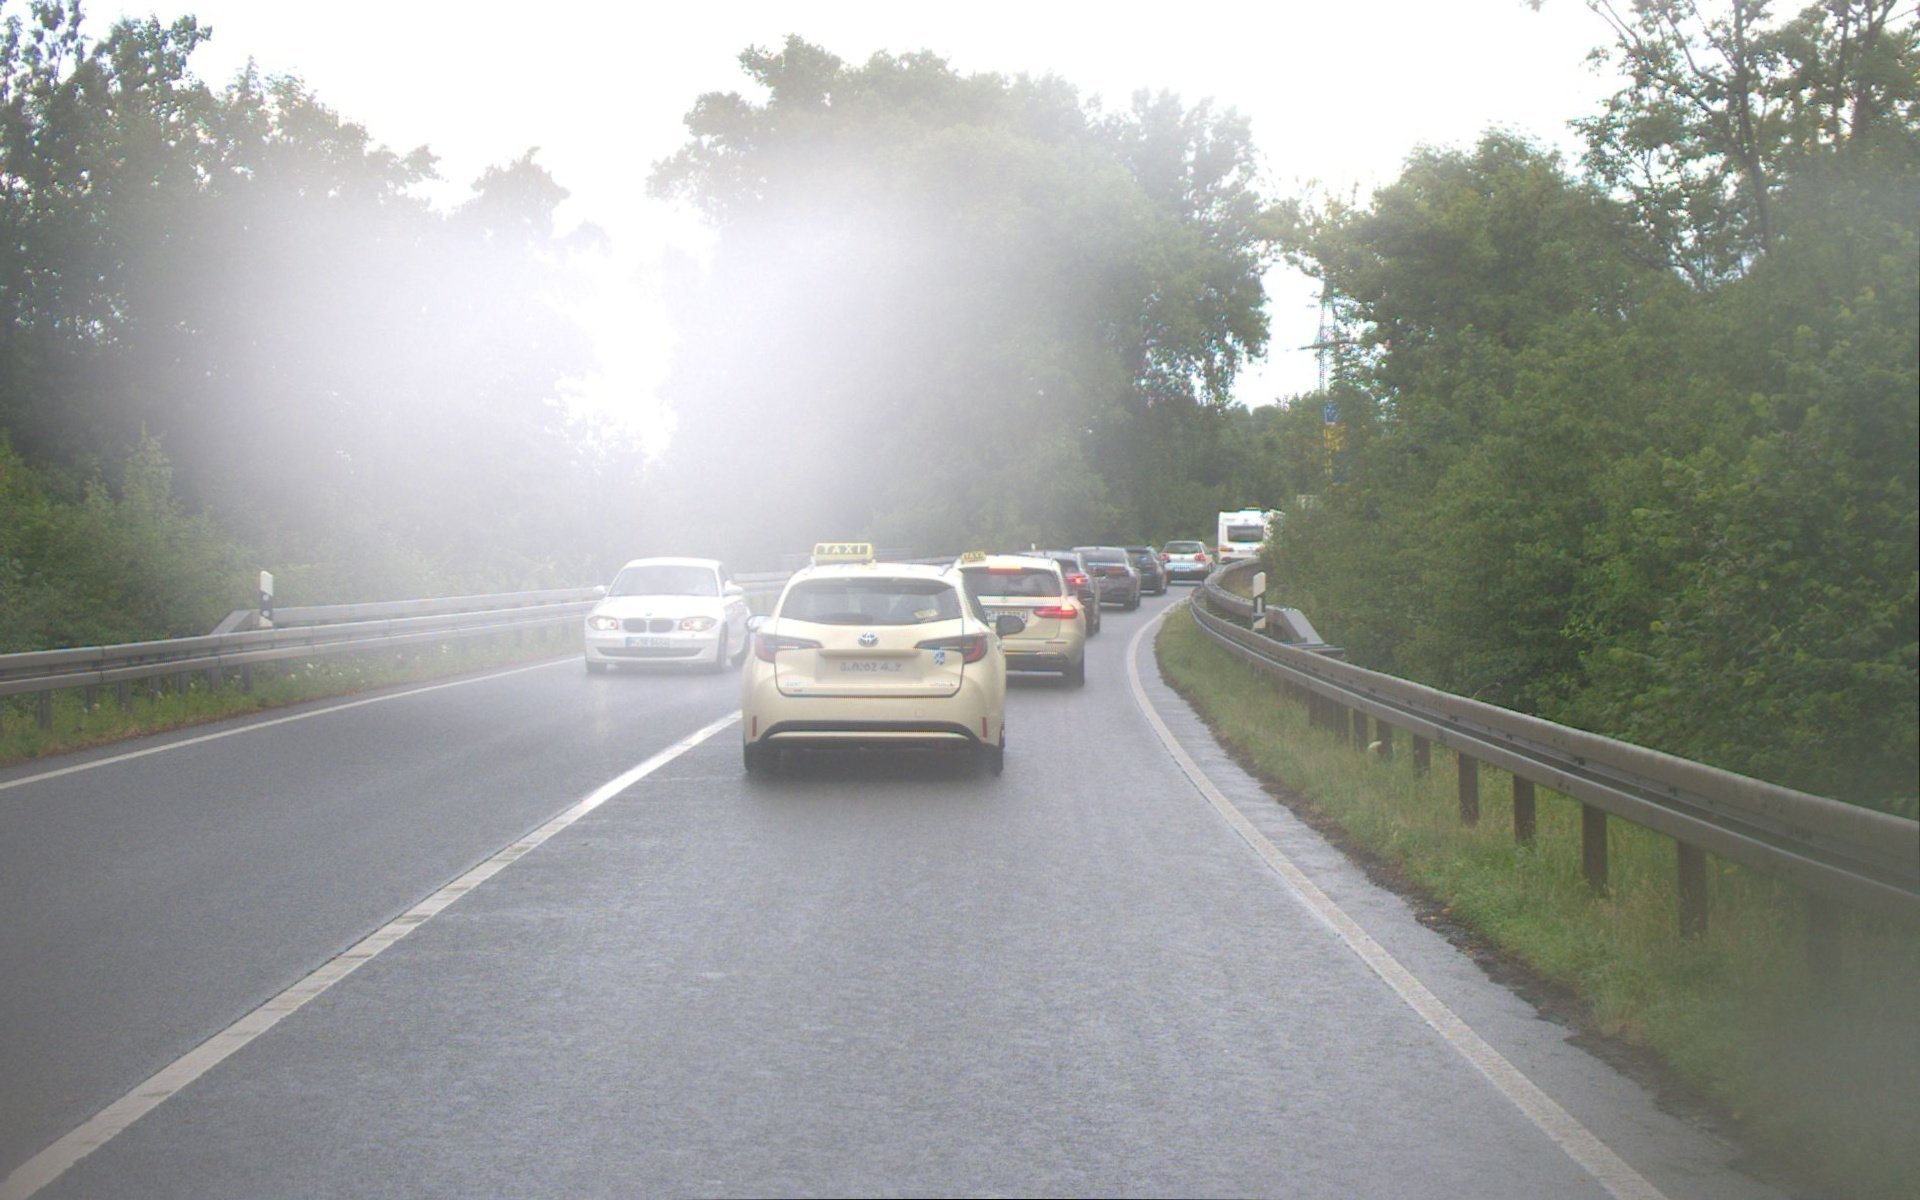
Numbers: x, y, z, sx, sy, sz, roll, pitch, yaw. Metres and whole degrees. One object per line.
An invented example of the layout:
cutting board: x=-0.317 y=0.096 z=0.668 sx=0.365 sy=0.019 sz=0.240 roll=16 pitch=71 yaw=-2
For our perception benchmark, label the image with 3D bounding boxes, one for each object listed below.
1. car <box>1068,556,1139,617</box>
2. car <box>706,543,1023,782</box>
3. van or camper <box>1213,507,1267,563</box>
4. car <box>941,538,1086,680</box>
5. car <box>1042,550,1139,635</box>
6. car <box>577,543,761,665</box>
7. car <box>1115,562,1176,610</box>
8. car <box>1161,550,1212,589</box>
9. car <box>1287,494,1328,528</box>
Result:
car: x=3.420 y=-0.319 z=82.322 sx=1.660 sy=1.404 sz=3.904 roll=0 pitch=0 yaw=2
car: x=-0.586 y=0.372 z=24.397 sx=1.906 sy=1.532 sz=4.161 roll=0 pitch=1 yaw=3
van or camper: x=11.731 y=-2.707 z=143.802 sx=1.994 sy=2.246 sz=3.999 roll=1 pitch=1 yaw=8
car: x=0.660 y=0.069 z=39.960 sx=1.578 sy=1.567 sz=3.681 roll=0 pitch=1 yaw=2
car: x=2.334 y=-0.151 z=61.383 sx=1.665 sy=1.459 sz=3.477 roll=0 pitch=1 yaw=2
car: x=-3.614 y=0.014 z=43.377 sx=1.815 sy=1.449 sz=4.047 roll=0 pitch=1 yaw=2
car: x=5.357 y=-0.416 z=99.090 sx=1.483 sy=1.304 sz=3.476 roll=1 pitch=1 yaw=7
car: x=7.628 y=-1.040 z=115.755 sx=1.483 sy=1.304 sz=3.476 roll=1 pitch=1 yaw=7
car: x=17.062 y=-4.369 z=168.824 sx=1.647 sy=1.580 sz=3.681 roll=1 pitch=1 yaw=11
